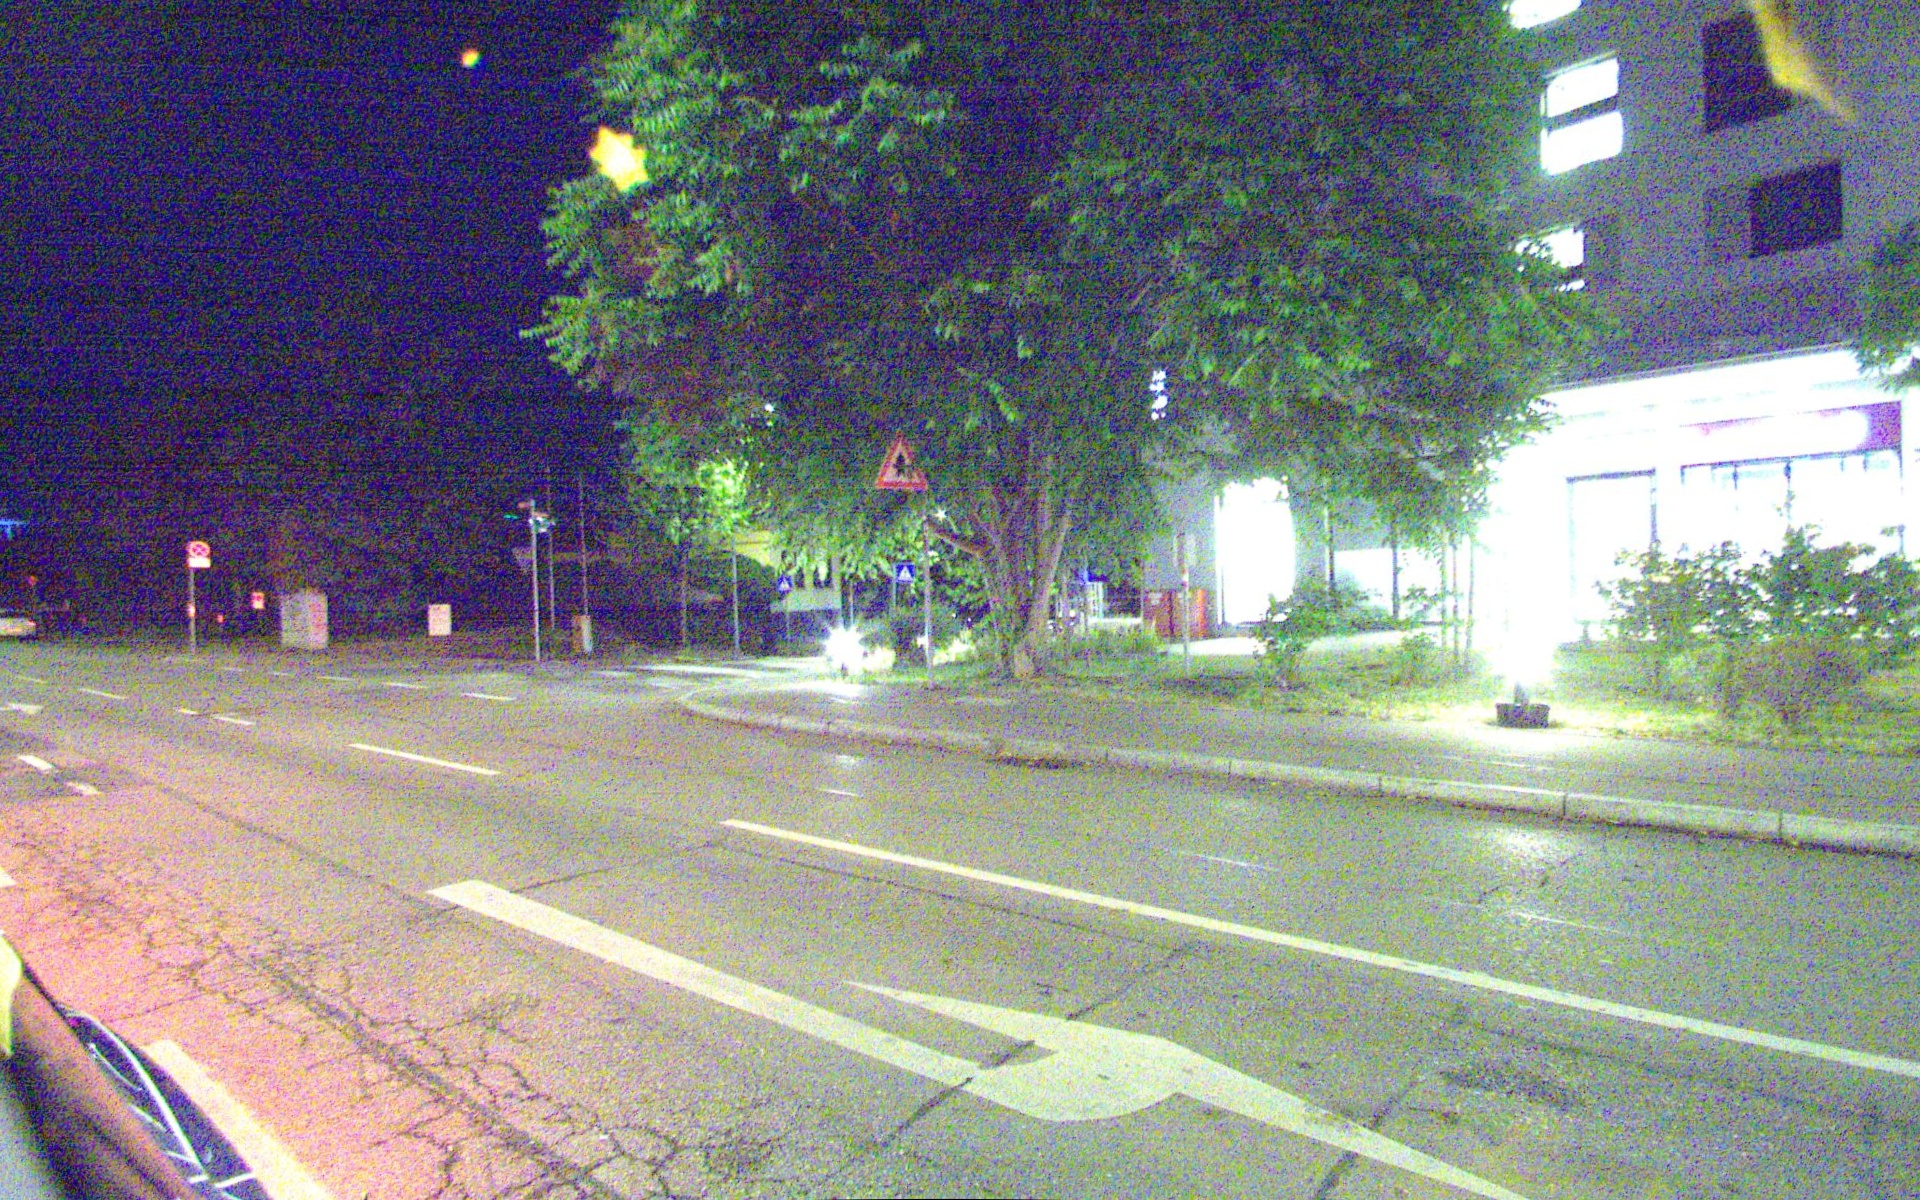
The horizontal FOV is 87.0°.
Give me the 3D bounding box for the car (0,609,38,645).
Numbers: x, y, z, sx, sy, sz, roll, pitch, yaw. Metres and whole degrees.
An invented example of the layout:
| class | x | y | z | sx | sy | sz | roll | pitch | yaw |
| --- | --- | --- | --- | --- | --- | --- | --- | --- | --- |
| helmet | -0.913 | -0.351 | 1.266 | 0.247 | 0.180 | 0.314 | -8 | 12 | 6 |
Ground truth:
| class | x | y | z | sx | sy | sz | roll | pitch | yaw |
| --- | --- | --- | --- | --- | --- | --- | --- | --- | --- |
| car | -43.291 | 1.208 | 45.781 | 3.998 | 1.464 | 1.887 | 1 | 2 | 41 |
